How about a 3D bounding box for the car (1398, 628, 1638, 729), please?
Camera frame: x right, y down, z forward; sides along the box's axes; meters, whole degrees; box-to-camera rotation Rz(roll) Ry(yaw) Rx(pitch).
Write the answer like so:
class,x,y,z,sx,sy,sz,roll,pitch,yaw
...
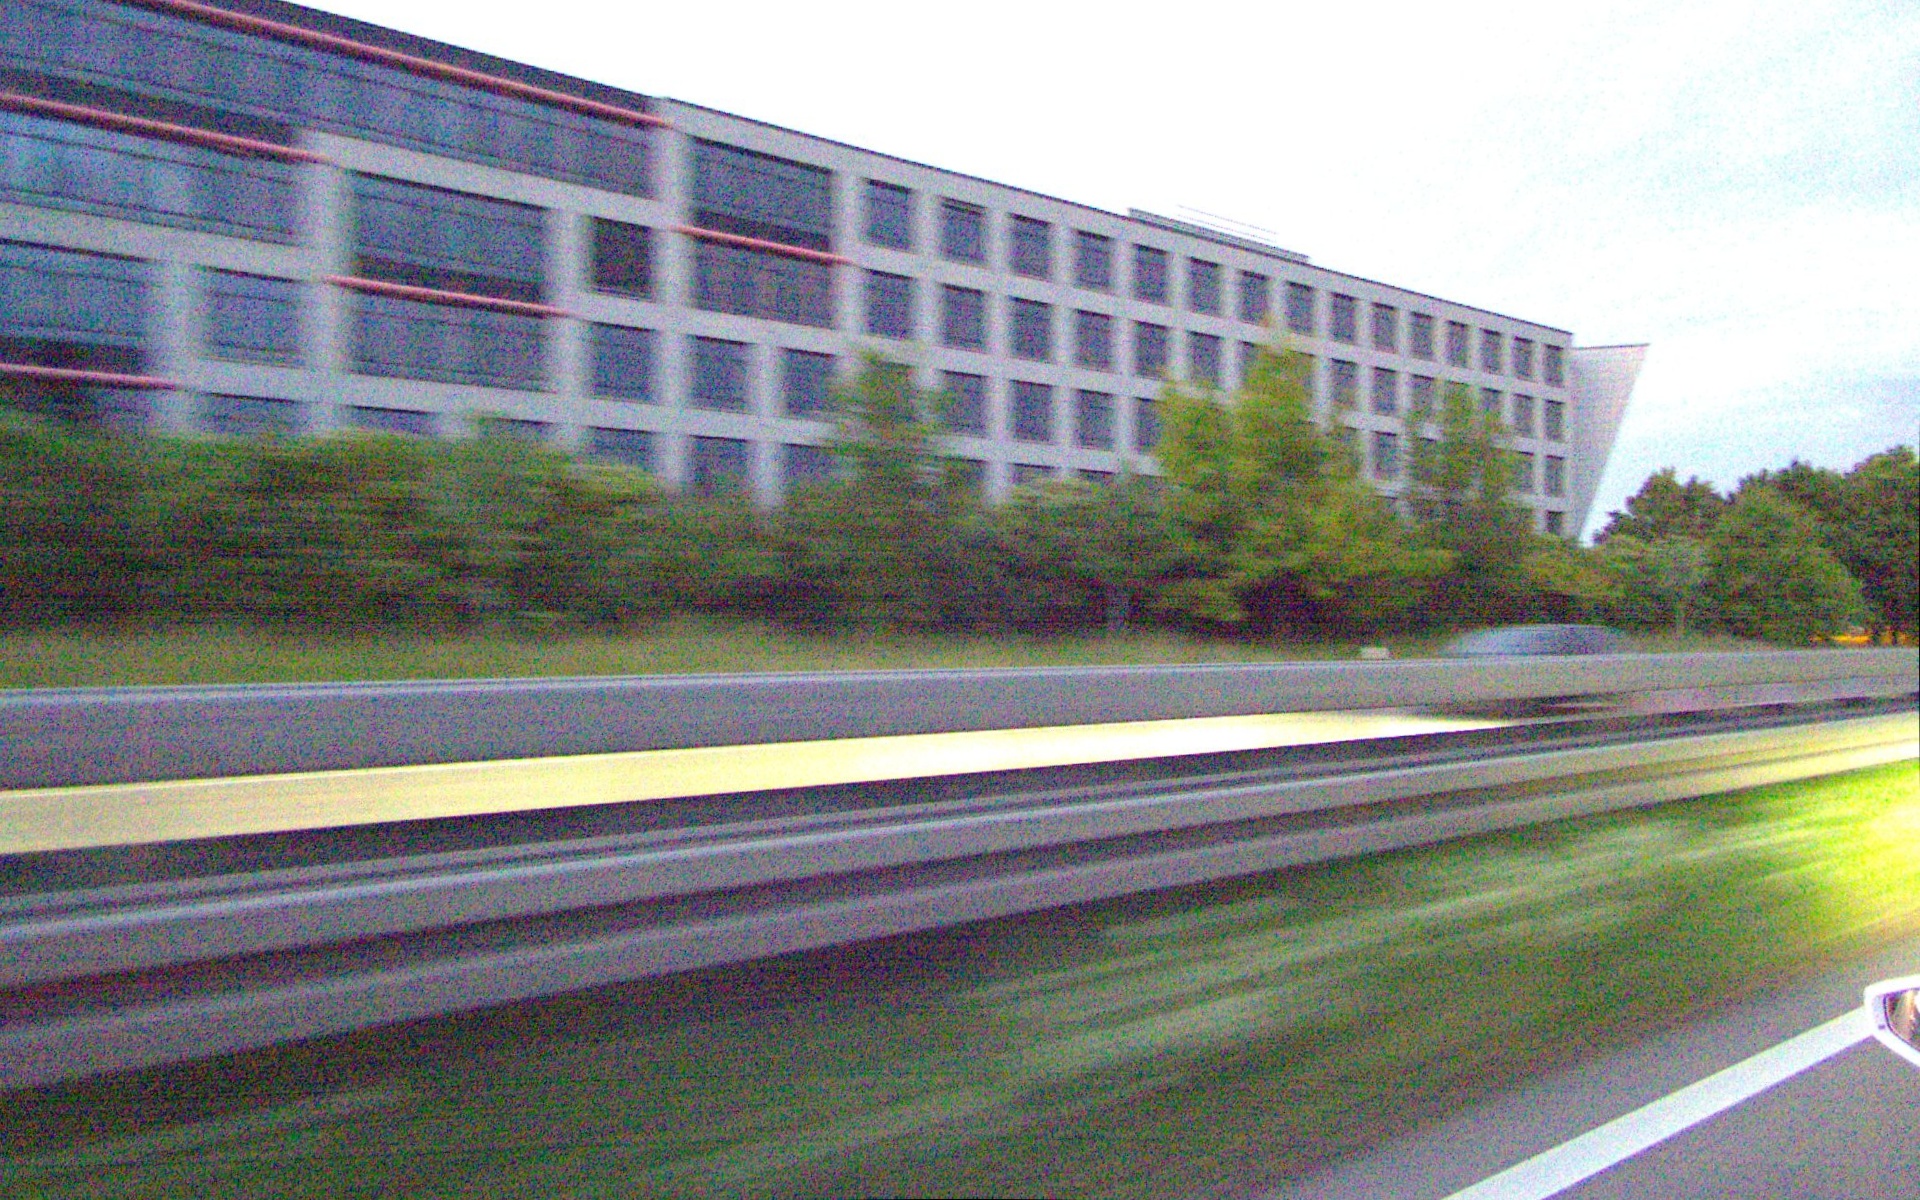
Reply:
class,x,y,z,sx,sy,sz,roll,pitch,yaw
car,9.321,1.239,16.738,3.800,1.488,1.826,1,-3,-31
